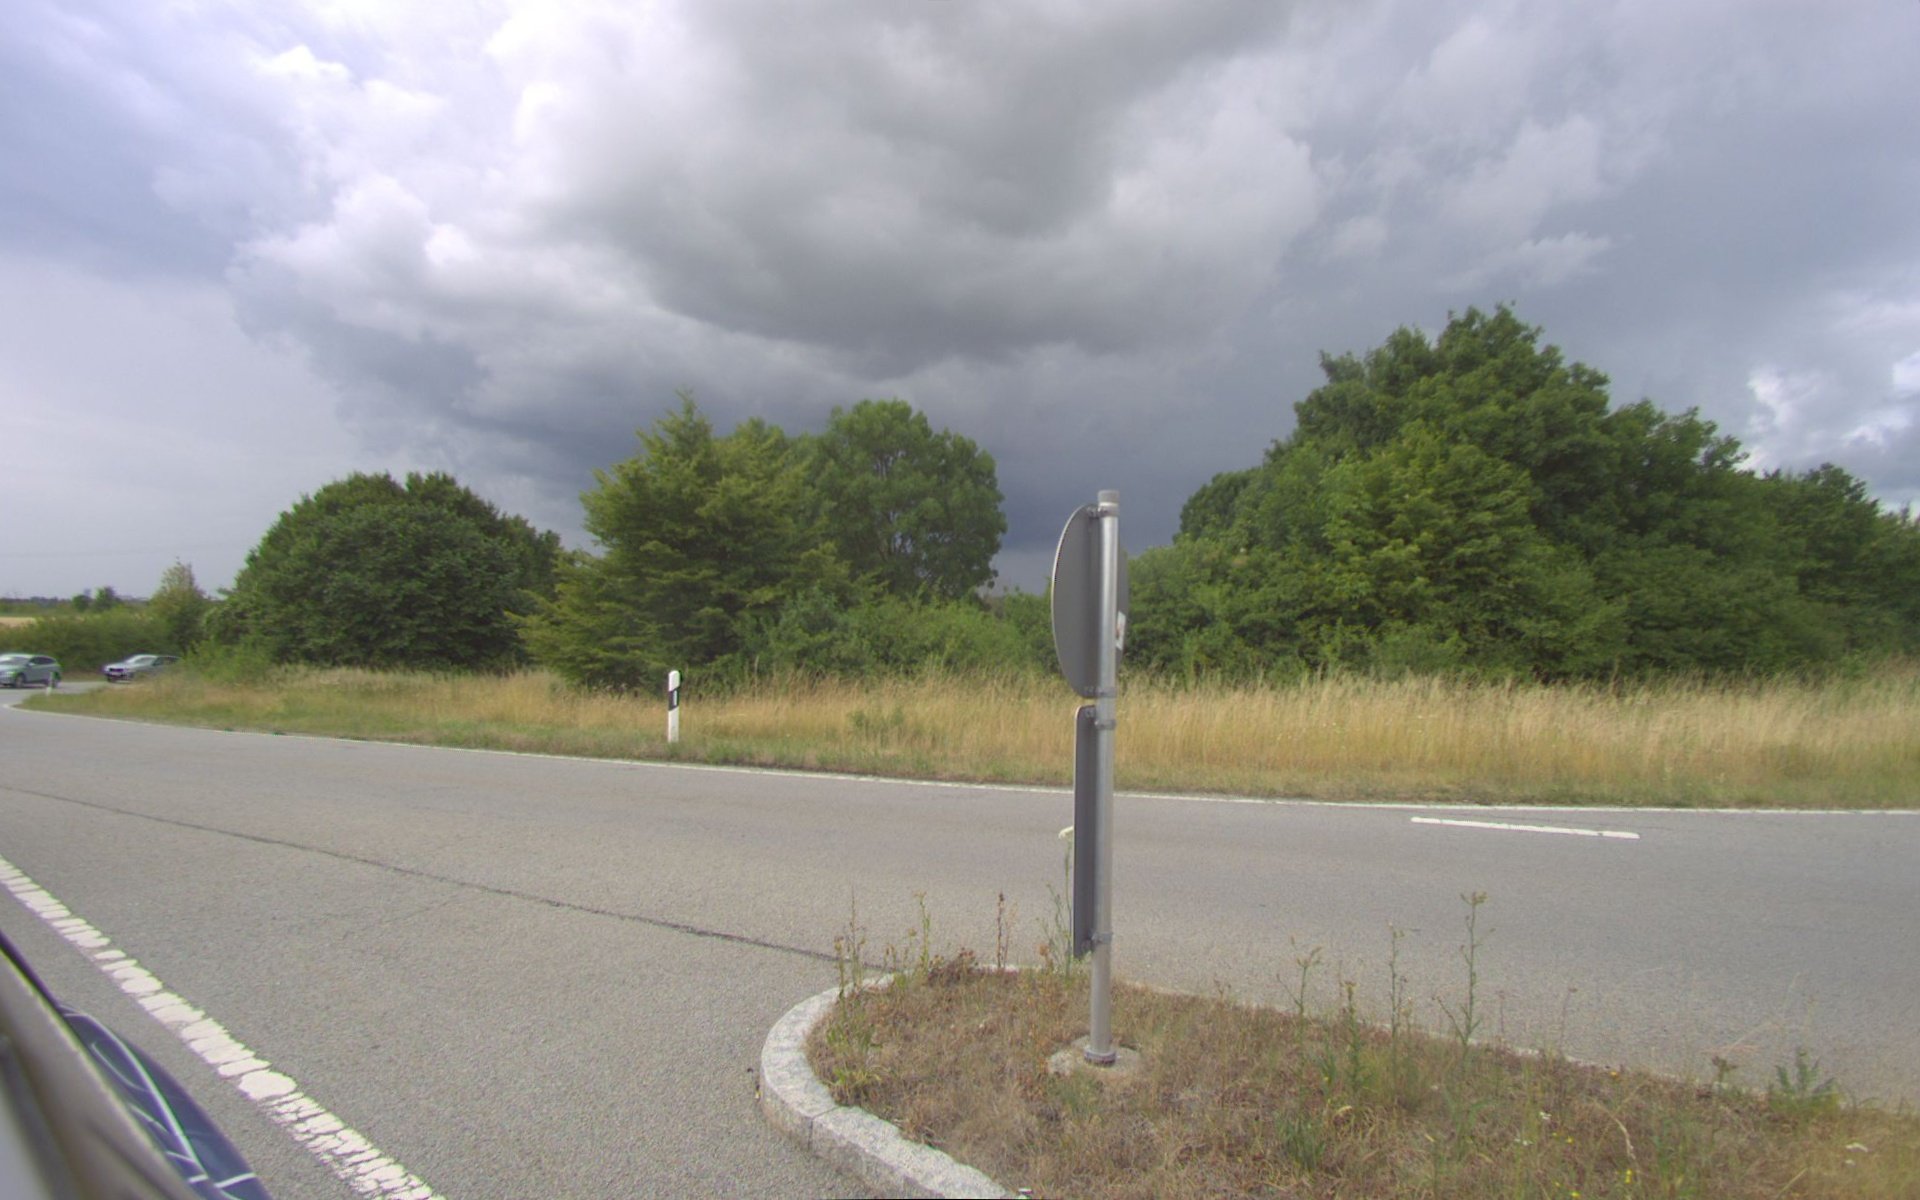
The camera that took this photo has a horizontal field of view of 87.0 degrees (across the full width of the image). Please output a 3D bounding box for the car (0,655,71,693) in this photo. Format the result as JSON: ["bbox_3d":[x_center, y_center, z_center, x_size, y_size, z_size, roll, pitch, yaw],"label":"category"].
[{"bbox_3d":[-46.189,3.590,49.527,1.966,1.733,5.223,4,-5,-17],"label":"car"}]

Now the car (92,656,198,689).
[{"bbox_3d":[-48.156,4.252,59.968,1.973,1.732,5.206,2,-3,1],"label":"car"}]
